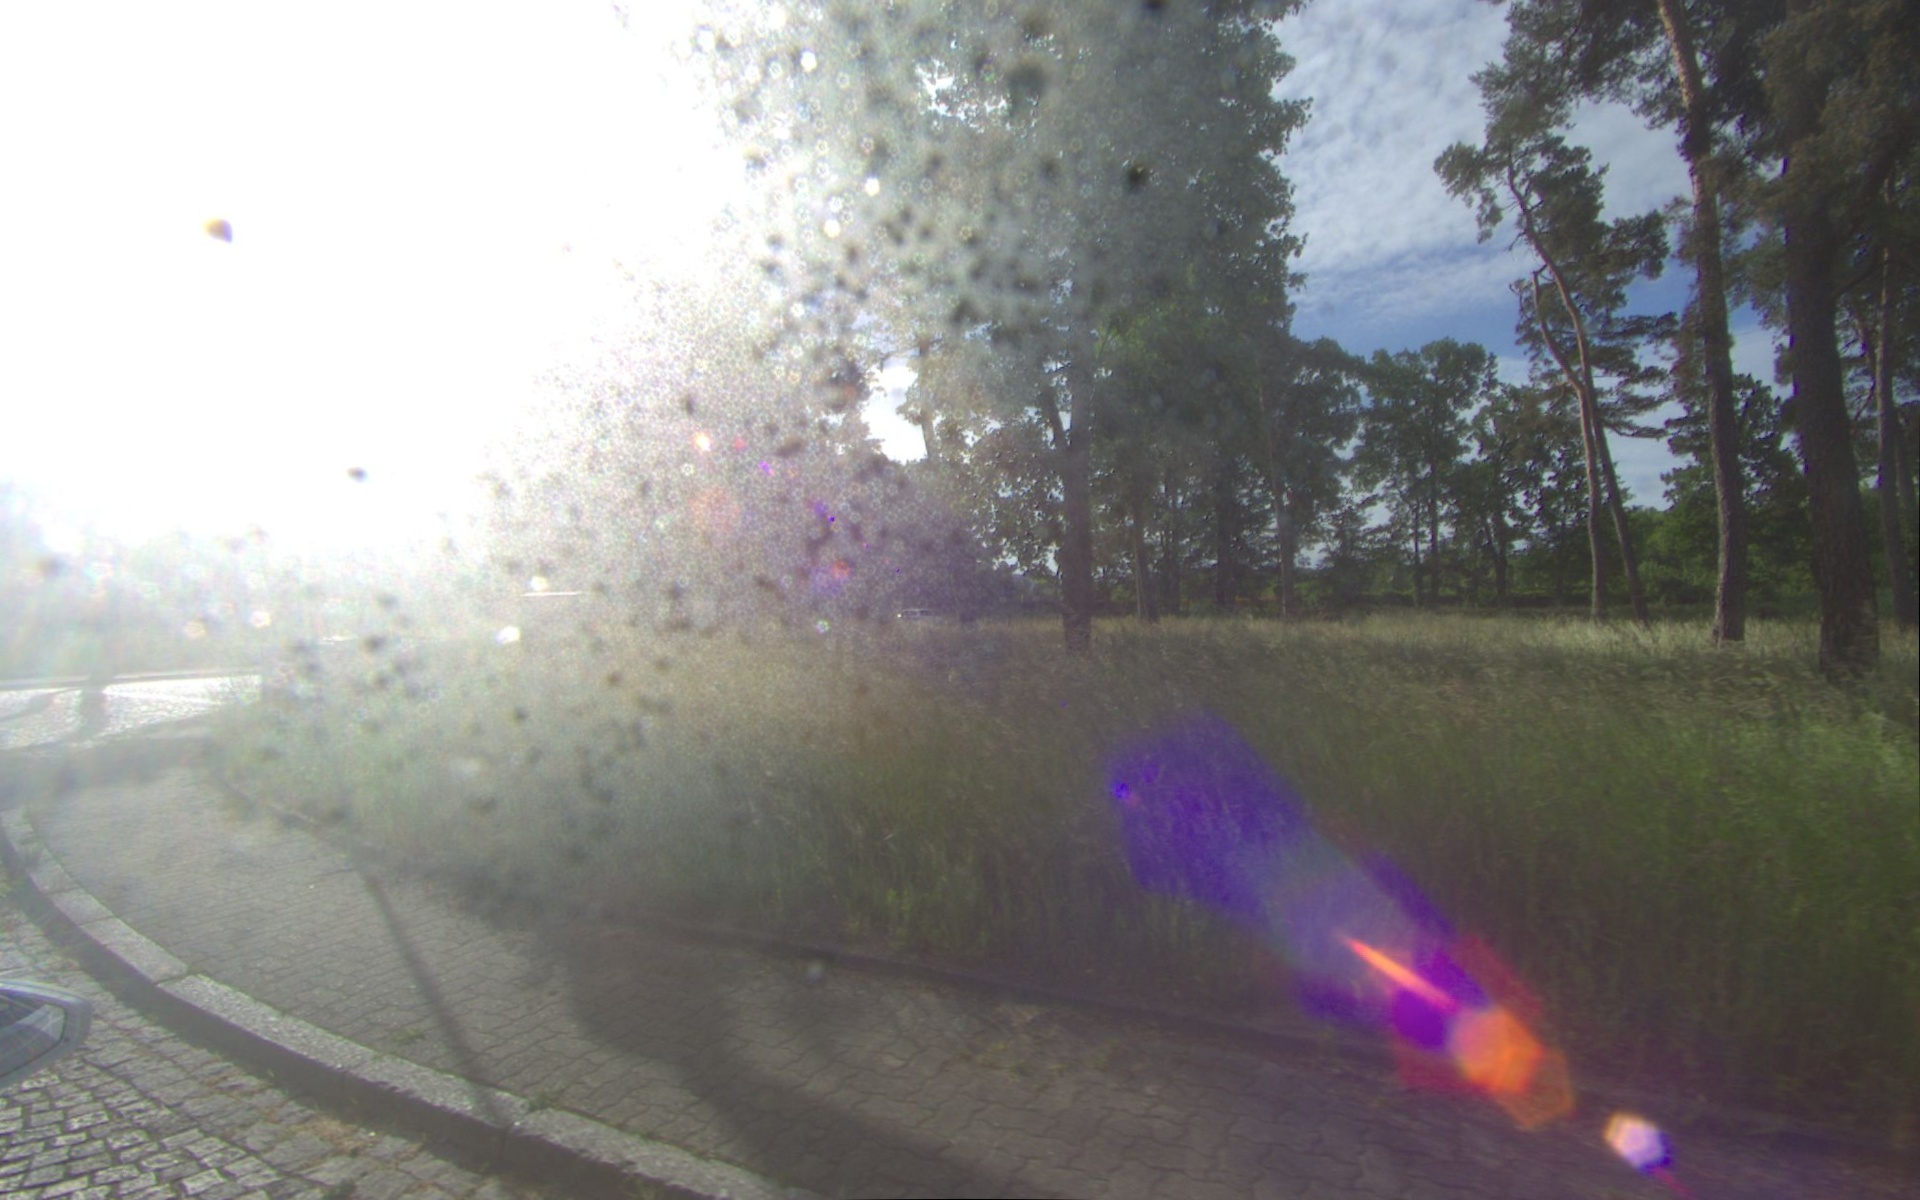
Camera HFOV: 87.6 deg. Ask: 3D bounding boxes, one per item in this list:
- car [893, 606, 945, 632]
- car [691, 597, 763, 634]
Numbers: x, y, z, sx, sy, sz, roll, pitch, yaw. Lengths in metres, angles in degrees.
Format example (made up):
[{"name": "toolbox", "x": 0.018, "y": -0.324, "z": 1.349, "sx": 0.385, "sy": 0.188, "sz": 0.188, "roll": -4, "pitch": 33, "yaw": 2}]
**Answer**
[{"name": "car", "x": -2.653, "y": 1.241, "z": 65.713, "sx": 1.827, "sy": 1.701, "sz": 3.931, "roll": -1, "pitch": -1, "yaw": 26}, {"name": "car", "x": -16.872, "y": 1.112, "z": 72.739, "sx": 2.230, "sy": 2.568, "sz": 5.153, "roll": -1, "pitch": -1, "yaw": 29}]
